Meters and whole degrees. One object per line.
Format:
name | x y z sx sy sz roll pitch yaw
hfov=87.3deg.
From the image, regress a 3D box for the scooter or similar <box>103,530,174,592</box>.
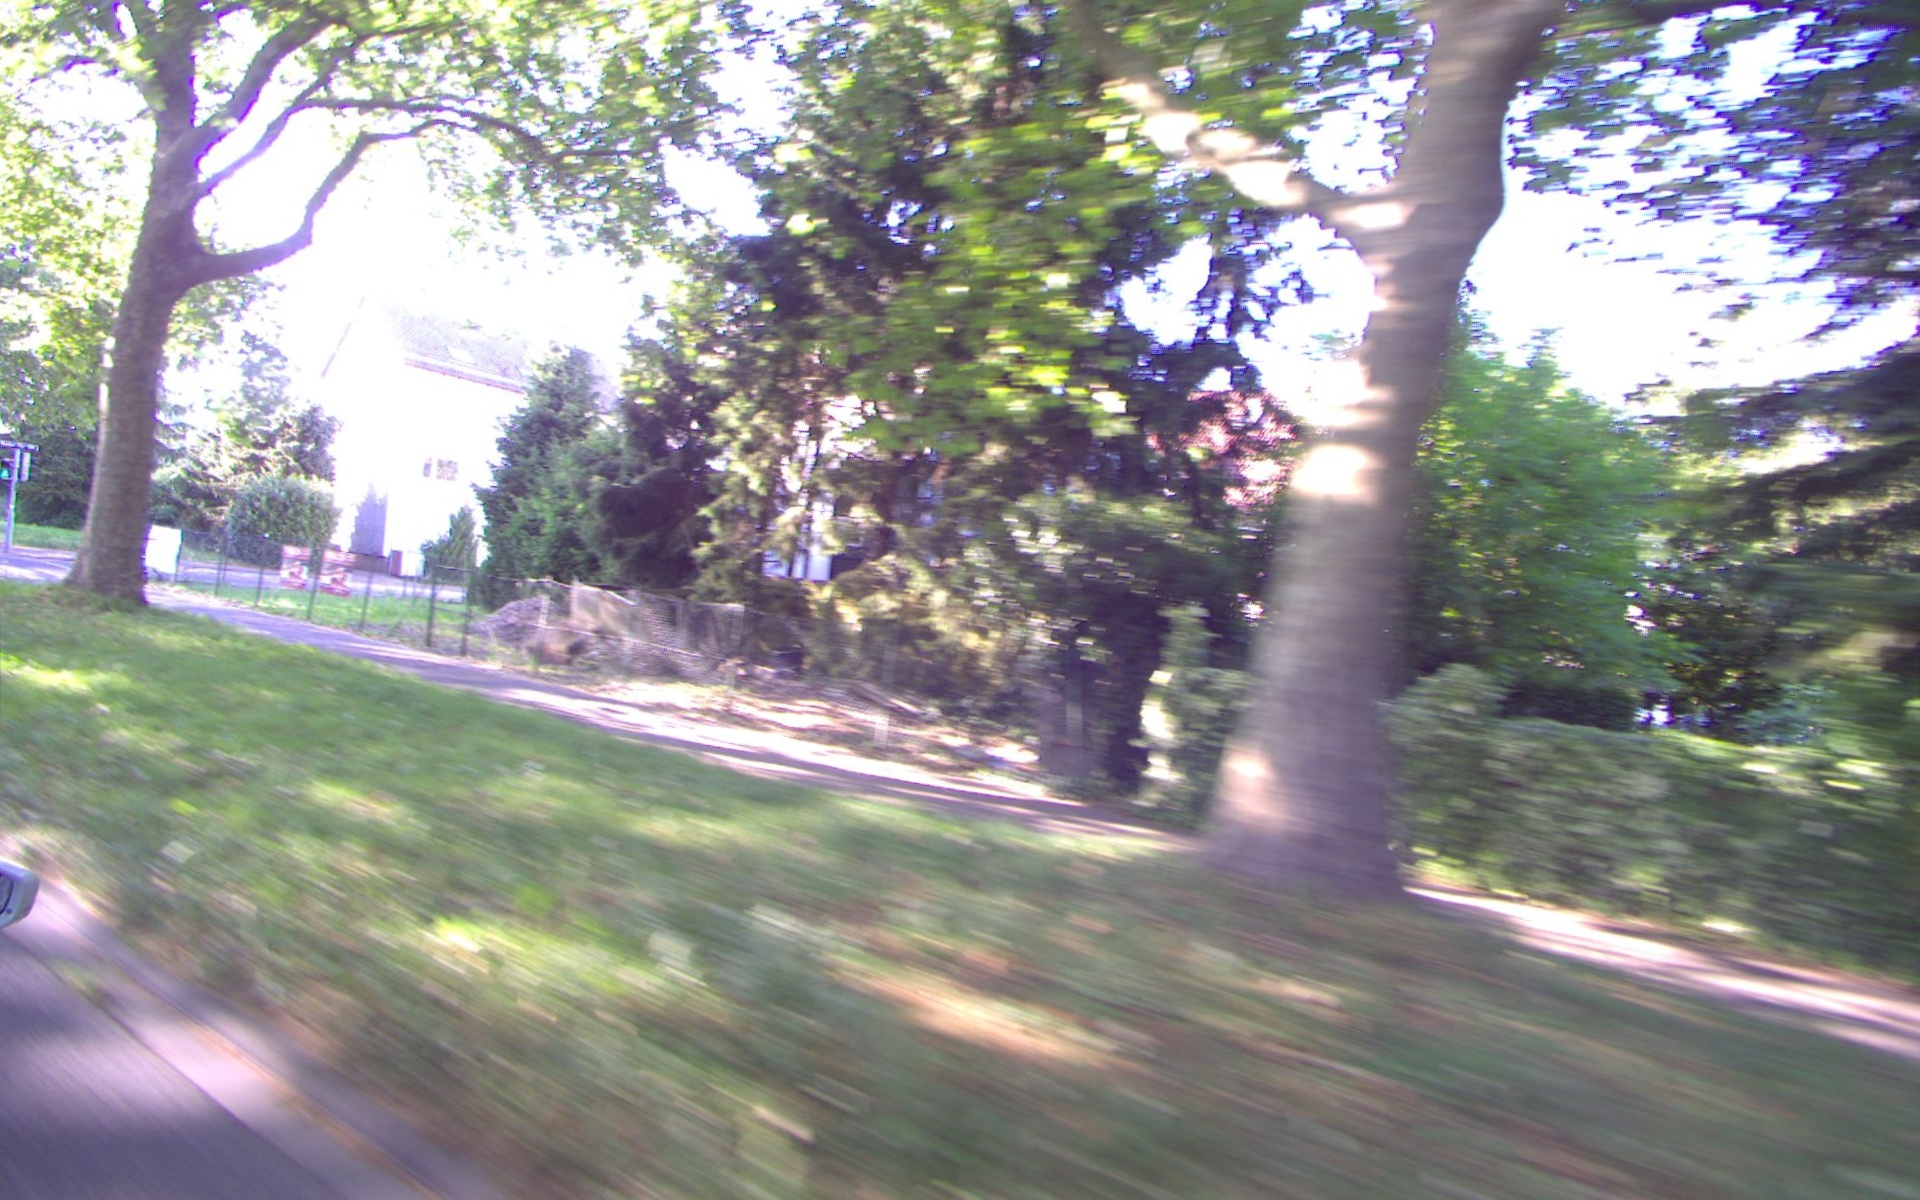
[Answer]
scooter or similar | -19.411 -0.942 23.744 2.276 1.273 0.550 6 -1 34
